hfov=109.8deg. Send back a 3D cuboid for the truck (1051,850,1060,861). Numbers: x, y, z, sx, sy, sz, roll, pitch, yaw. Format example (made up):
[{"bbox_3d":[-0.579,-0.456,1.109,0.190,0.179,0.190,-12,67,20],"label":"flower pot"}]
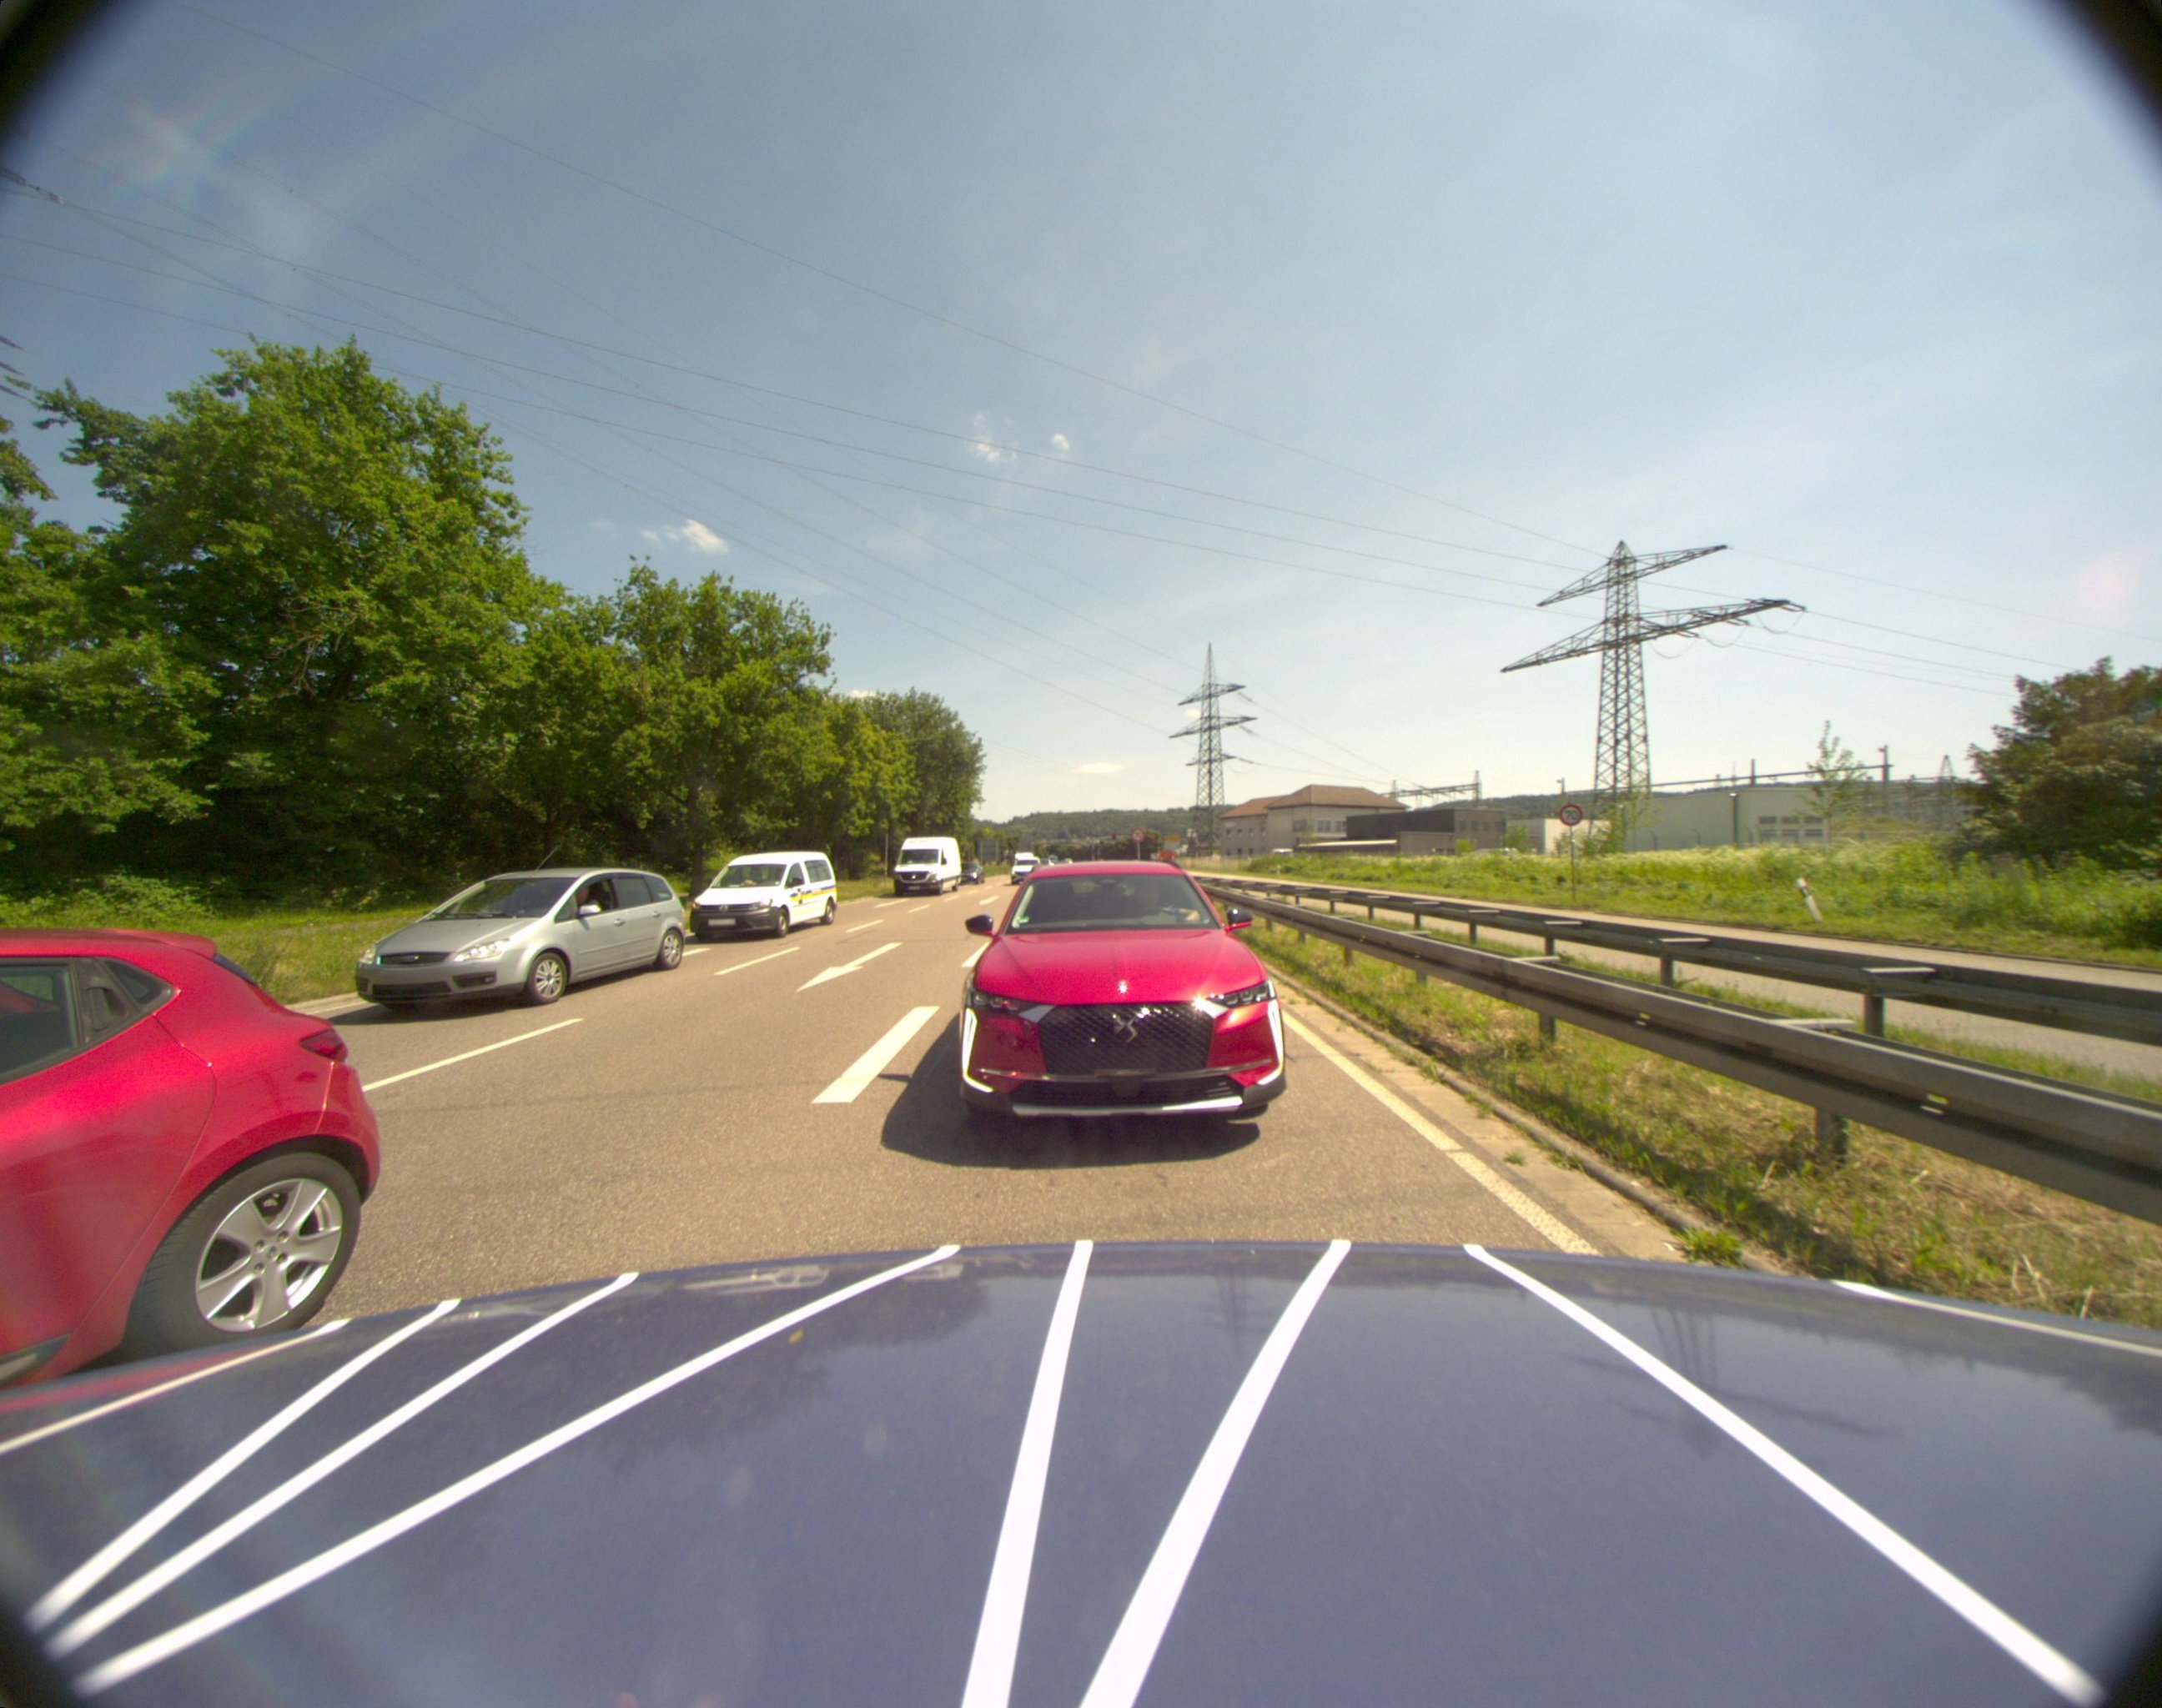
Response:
[{"bbox_3d":[-6.493,0.381,190.839,2.170,2.428,4.909,-2,1,-2],"label":"truck"}]

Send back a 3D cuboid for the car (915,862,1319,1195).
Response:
[{"bbox_3d":[0.196,0.845,5.766,1.846,1.453,4.414,-2,0,1],"label":"car"}]

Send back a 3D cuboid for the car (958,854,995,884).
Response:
[{"bbox_3d":[-6.675,0.933,48.937,1.878,1.674,3.998,-2,1,-2],"label":"car"}]

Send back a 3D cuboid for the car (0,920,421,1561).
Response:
[{"bbox_3d":[-3.523,1.018,0.964,1.747,1.453,4.065,-2,0,0],"label":"car"}]

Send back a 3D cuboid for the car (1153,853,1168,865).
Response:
[{"bbox_3d":[14.207,0.901,135.515,1.999,1.904,3.998,-2,1,-3],"label":"car"}]

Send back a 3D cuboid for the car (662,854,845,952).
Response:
[{"bbox_3d":[-6.980,0.925,16.879,1.809,1.790,5.037,-2,0,0],"label":"car"}]

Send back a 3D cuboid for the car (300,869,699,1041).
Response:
[{"bbox_3d":[-6.928,1.057,9.780,1.747,1.585,4.272,-2,0,1],"label":"car"}]

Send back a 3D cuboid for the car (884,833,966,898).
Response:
[{"bbox_3d":[-7.004,0.475,35.022,2.232,2.592,7.018,-2,0,0],"label":"car"}]

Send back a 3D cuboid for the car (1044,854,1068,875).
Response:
[{"bbox_3d":[-2.141,0.910,66.166,2.022,1.671,3.999,-2,0,-1],"label":"car"}]

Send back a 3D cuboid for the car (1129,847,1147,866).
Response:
[{"bbox_3d":[9.767,0.408,130.043,2.607,3.043,5.638,0,0,0],"label":"car"}]

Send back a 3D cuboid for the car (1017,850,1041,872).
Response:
[{"bbox_3d":[-6.255,0.824,92.516,2.308,2.408,5.814,-2,0,1],"label":"car"}]

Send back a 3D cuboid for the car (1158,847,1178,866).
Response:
[{"bbox_3d":[14.344,0.345,125.689,2.607,3.043,5.638,0,0,0],"label":"car"}]

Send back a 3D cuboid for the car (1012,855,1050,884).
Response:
[{"bbox_3d":[-2.950,0.890,45.761,1.850,1.559,4.363,-2,0,1],"label":"car"}]

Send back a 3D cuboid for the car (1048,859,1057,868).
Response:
[{"bbox_3d":[-6.312,2.066,166.668,1.878,1.674,3.998,-2,1,-2],"label":"car"}]

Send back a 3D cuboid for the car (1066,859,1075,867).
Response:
[{"bbox_3d":[-2.431,1.946,171.862,1.878,1.674,3.998,-2,1,-2],"label":"car"}]
